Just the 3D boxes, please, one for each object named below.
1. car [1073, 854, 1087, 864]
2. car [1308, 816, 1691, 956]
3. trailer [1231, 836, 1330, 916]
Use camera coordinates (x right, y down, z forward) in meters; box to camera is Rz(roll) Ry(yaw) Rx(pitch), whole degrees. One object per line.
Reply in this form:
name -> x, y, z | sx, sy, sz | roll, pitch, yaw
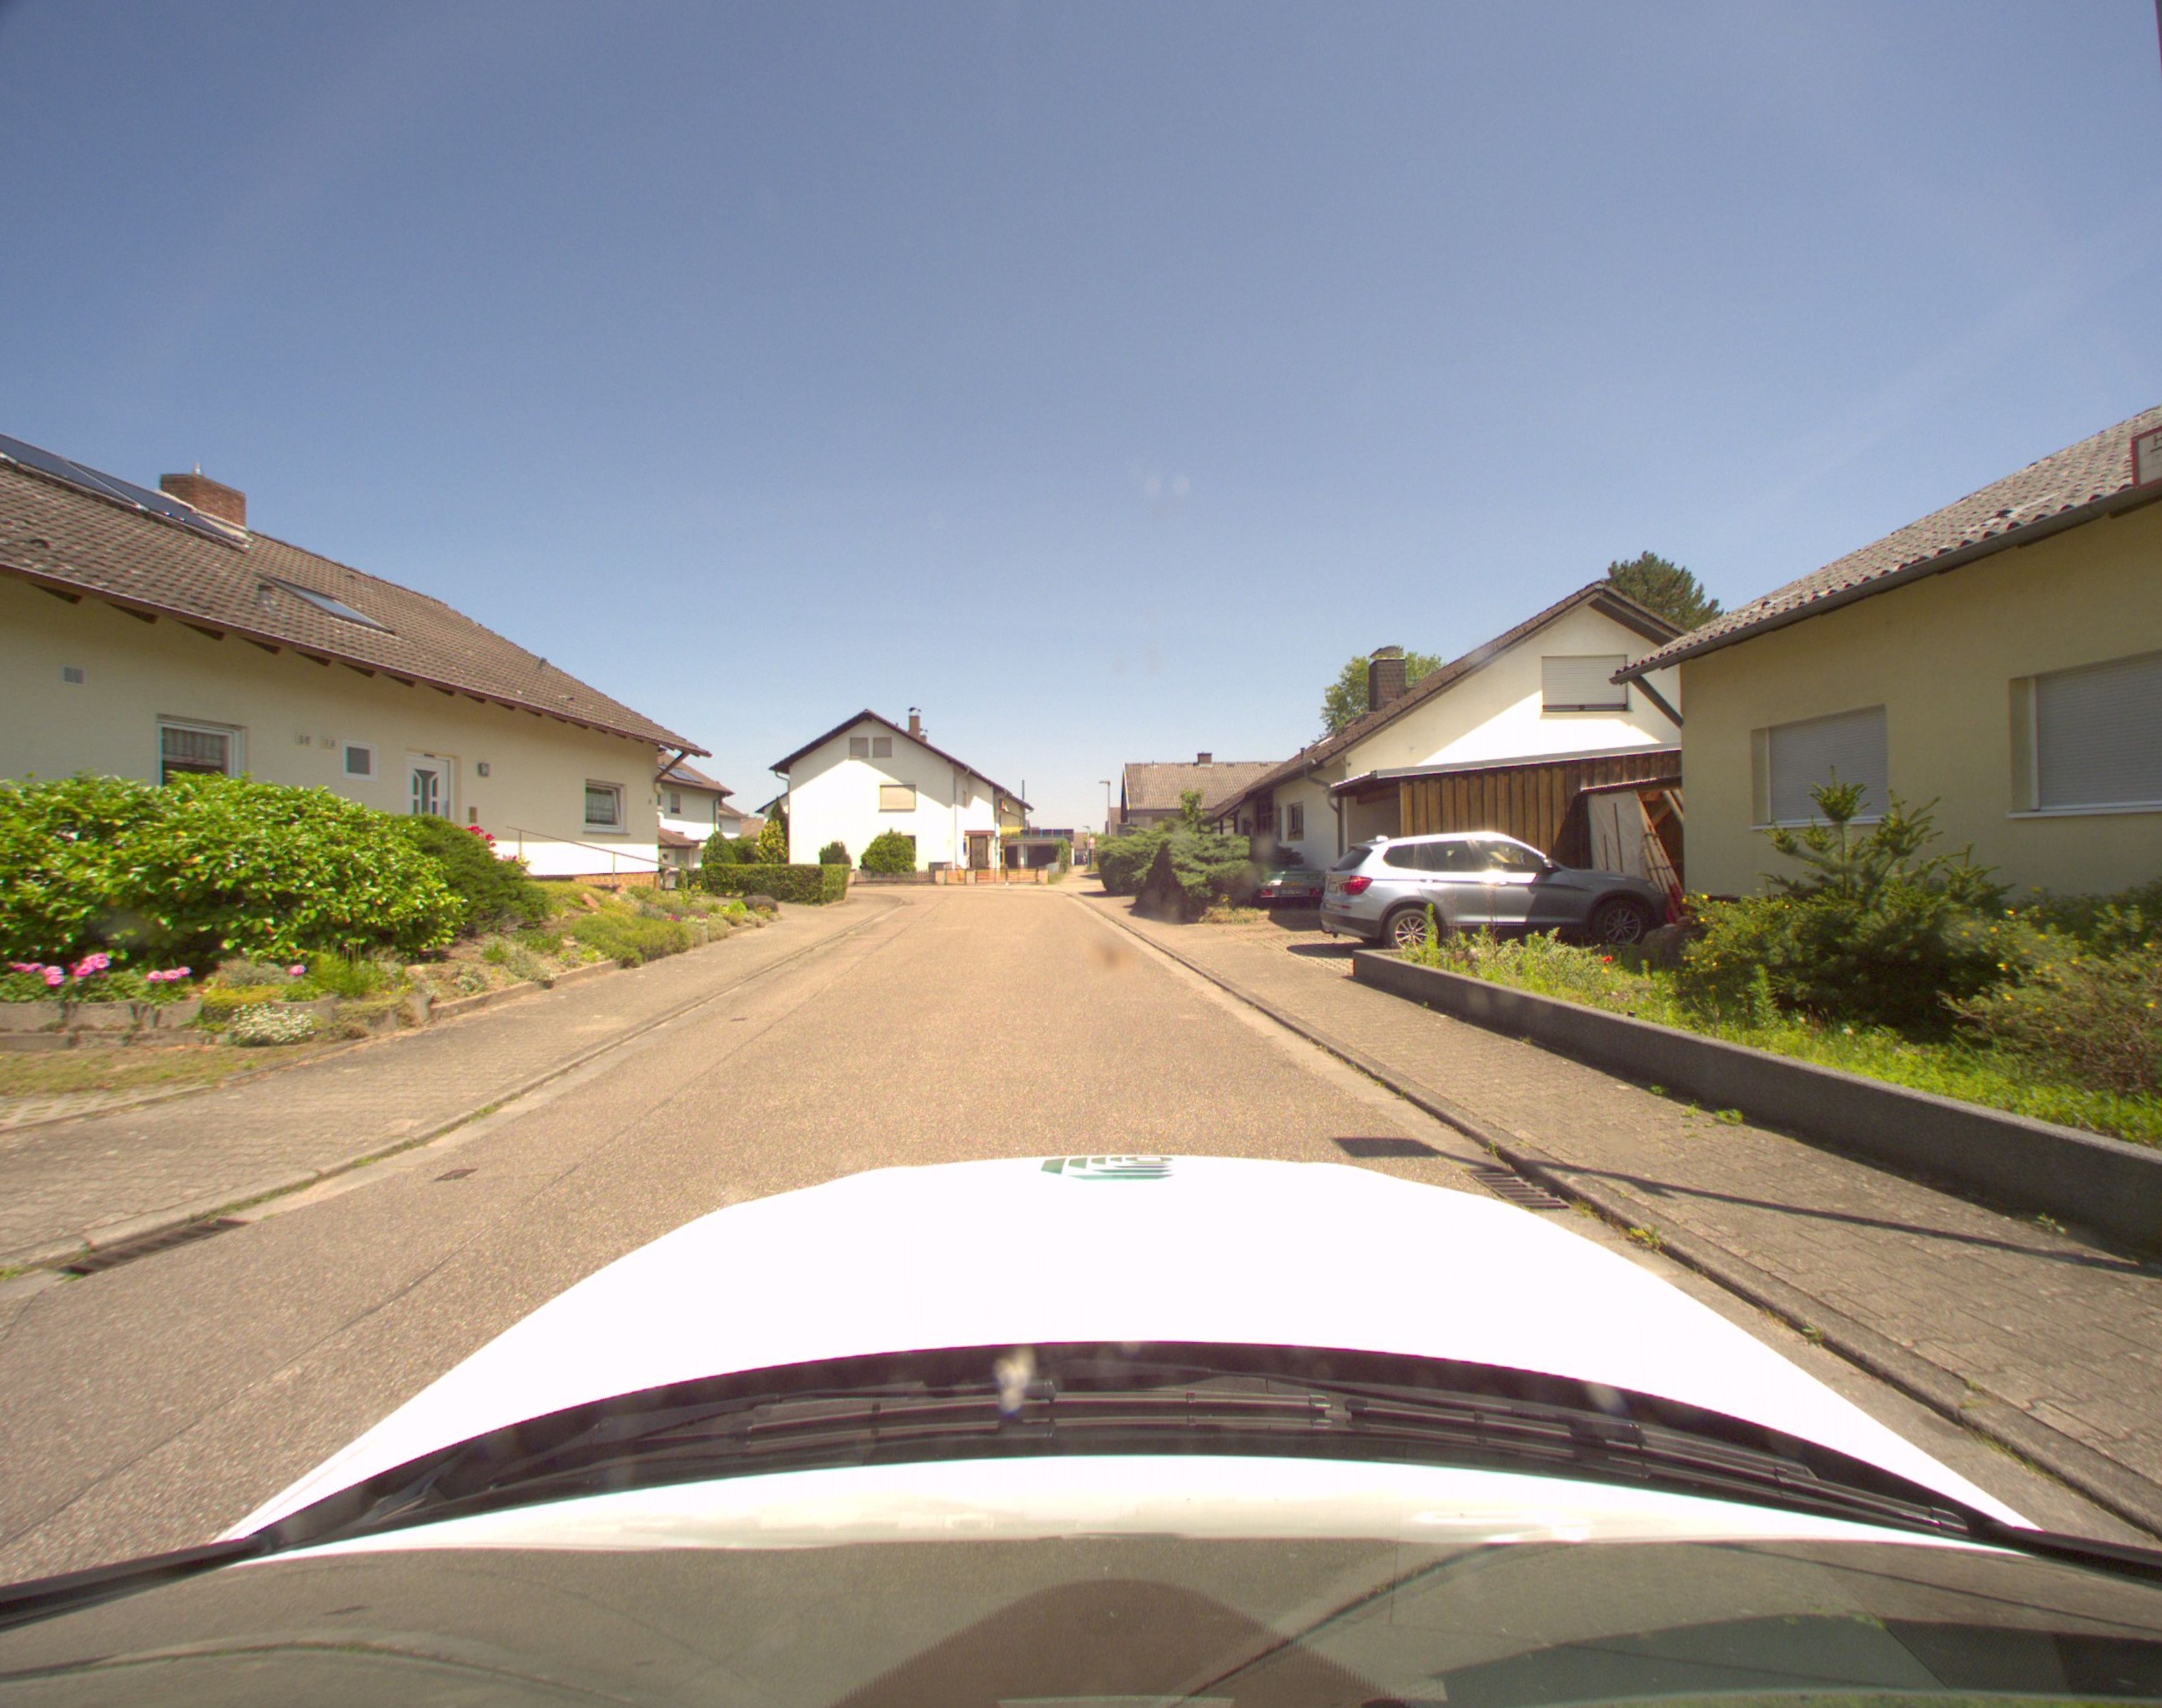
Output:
car -> -0.118, 0.814, 137.591 | 2.185, 1.701, 3.808 | -1, 0, 1
car -> 5.854, 0.445, 11.846 | 4.607, 1.702, 1.711 | -2, 0, 3
trailer -> 4.666, 0.468, 19.437 | 1.581, 1.672, 3.298 | -2, 0, 2
